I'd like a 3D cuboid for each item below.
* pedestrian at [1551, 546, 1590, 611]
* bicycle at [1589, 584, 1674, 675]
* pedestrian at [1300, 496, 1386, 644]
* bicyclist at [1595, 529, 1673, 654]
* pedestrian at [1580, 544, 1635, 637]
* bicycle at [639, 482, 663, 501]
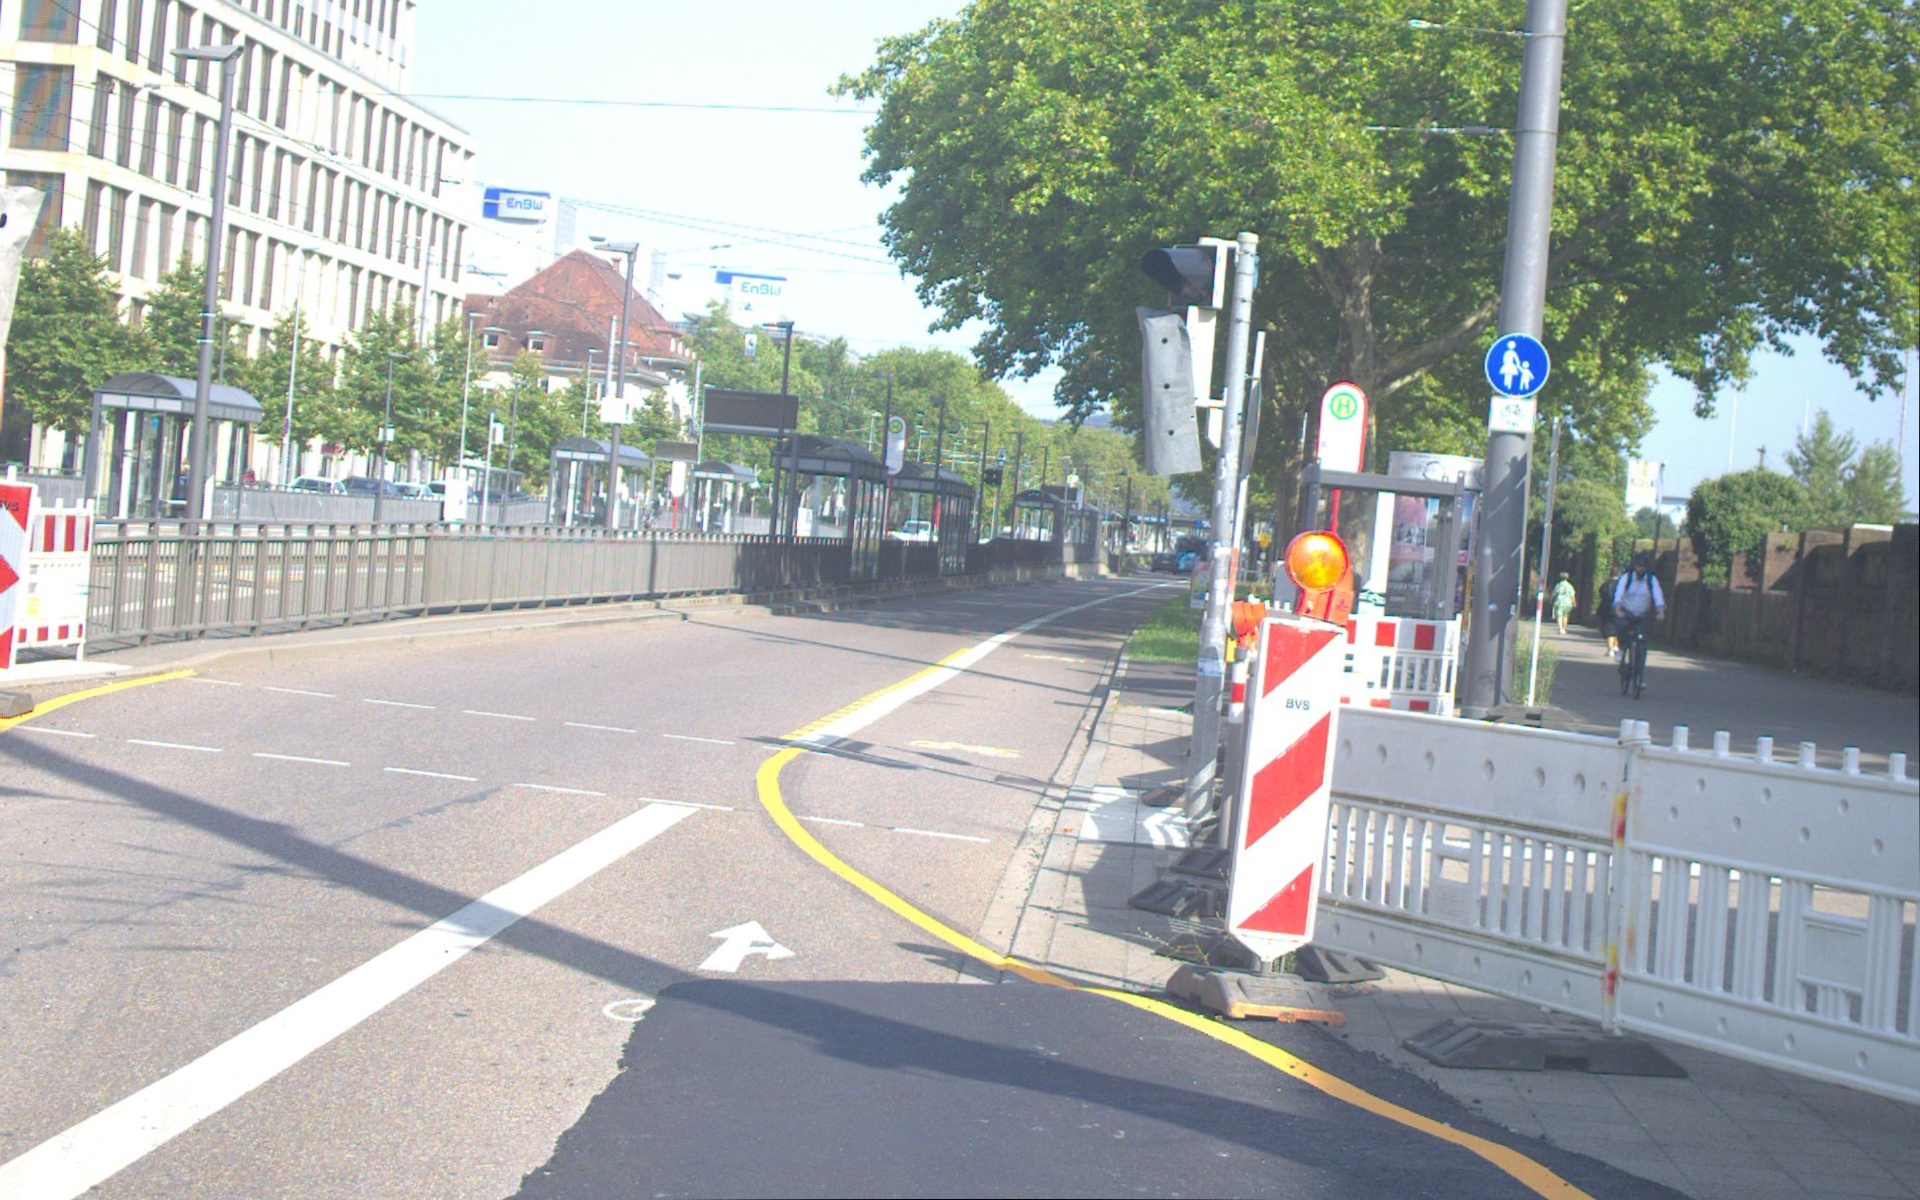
[{"bbox_3d":[15.351,-0.543,86.502,0.806,1.598,0.947,3,1,5],"label":"pedestrian"},{"bbox_3d":[8.673,0.366,44.471,0.717,1.038,1.903,5,2,2],"label":"bicycle"},{"bbox_3d":[4.553,-0.363,40.892,0.687,1.691,0.649,4,2,-16],"label":"pedestrian"},{"bbox_3d":[8.708,-0.114,44.448,0.717,1.537,0.956,5,2,2],"label":"bicyclist"},{"bbox_3d":[12.275,-0.185,65.192,0.819,1.680,1.012,4,1,5],"label":"pedestrian"},{"bbox_3d":[-11.767,-4.144,130.972,0.477,0.660,1.613,5,1,9],"label":"bicycle"}]
